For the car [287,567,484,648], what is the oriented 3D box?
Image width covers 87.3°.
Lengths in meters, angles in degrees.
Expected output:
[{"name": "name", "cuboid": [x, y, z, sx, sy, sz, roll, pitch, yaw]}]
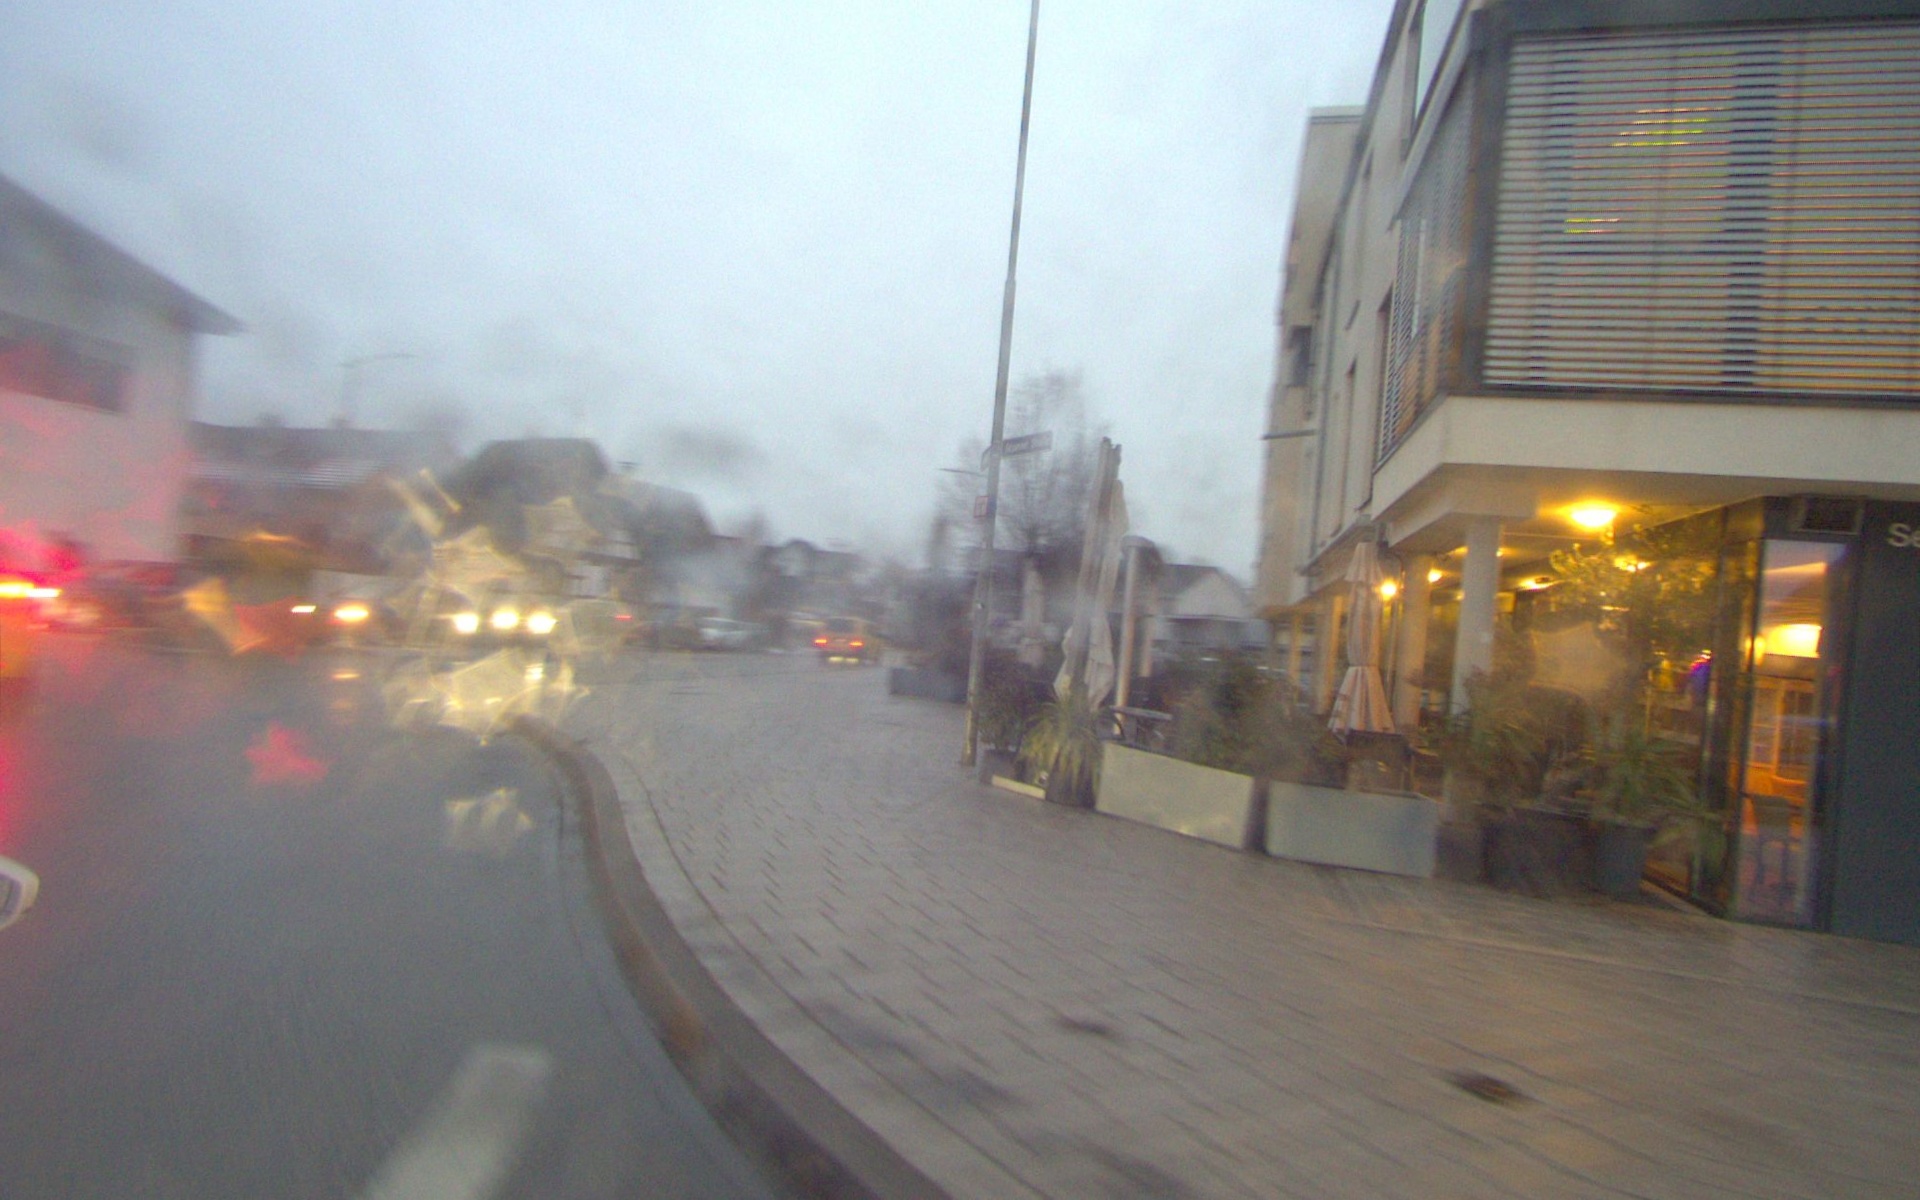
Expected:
[{"name": "car", "cuboid": [-13.777, 0.250, 24.411, 1.665, 1.569, 4.005, 5, -3, 16]}]

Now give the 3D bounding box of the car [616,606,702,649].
[{"name": "car", "cuboid": [-12.577, 1.198, 42.214, 1.695, 1.483, 3.713, 6, -2, 14]}]

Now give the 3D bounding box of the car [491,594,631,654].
[{"name": "car", "cuboid": [-12.064, 0.782, 30.752, 1.664, 1.525, 4.262, 4, -2, 15]}]

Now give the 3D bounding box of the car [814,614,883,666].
[{"name": "car", "cuboid": [-4.939, 1.806, 45.259, 1.962, 2.037, 4.905, 6, -2, 5]}]

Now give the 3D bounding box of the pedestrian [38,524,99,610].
[{"name": "pedestrian", "cuboid": [-20.491, -0.742, 23.129, 0.626, 1.854, 0.717, 7, 0, 27]}]

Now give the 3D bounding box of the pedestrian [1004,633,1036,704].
[{"name": "pedestrian", "cuboid": [1.307, 1.491, 21.847, 0.542, 1.472, 0.452, 6, 0, 5]}]

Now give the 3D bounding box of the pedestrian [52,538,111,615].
[{"name": "pedestrian", "cuboid": [-19.847, -0.529, 22.726, 0.572, 1.640, 0.717, 6, -1, 27]}]

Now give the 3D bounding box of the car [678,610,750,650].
[{"name": "car", "cuboid": [-11.519, 1.450, 47.381, 1.641, 1.568, 3.721, 6, -2, 14]}]

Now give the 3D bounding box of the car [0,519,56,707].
[{"name": "car", "cuboid": [-9.225, -0.043, 8.697, 3.961, 1.438, 1.707, 3, -3, 44]}]

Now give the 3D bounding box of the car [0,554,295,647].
[{"name": "car", "cuboid": [-15.396, 0.090, 19.168, 1.817, 1.400, 4.237, 3, -3, 20]}]
